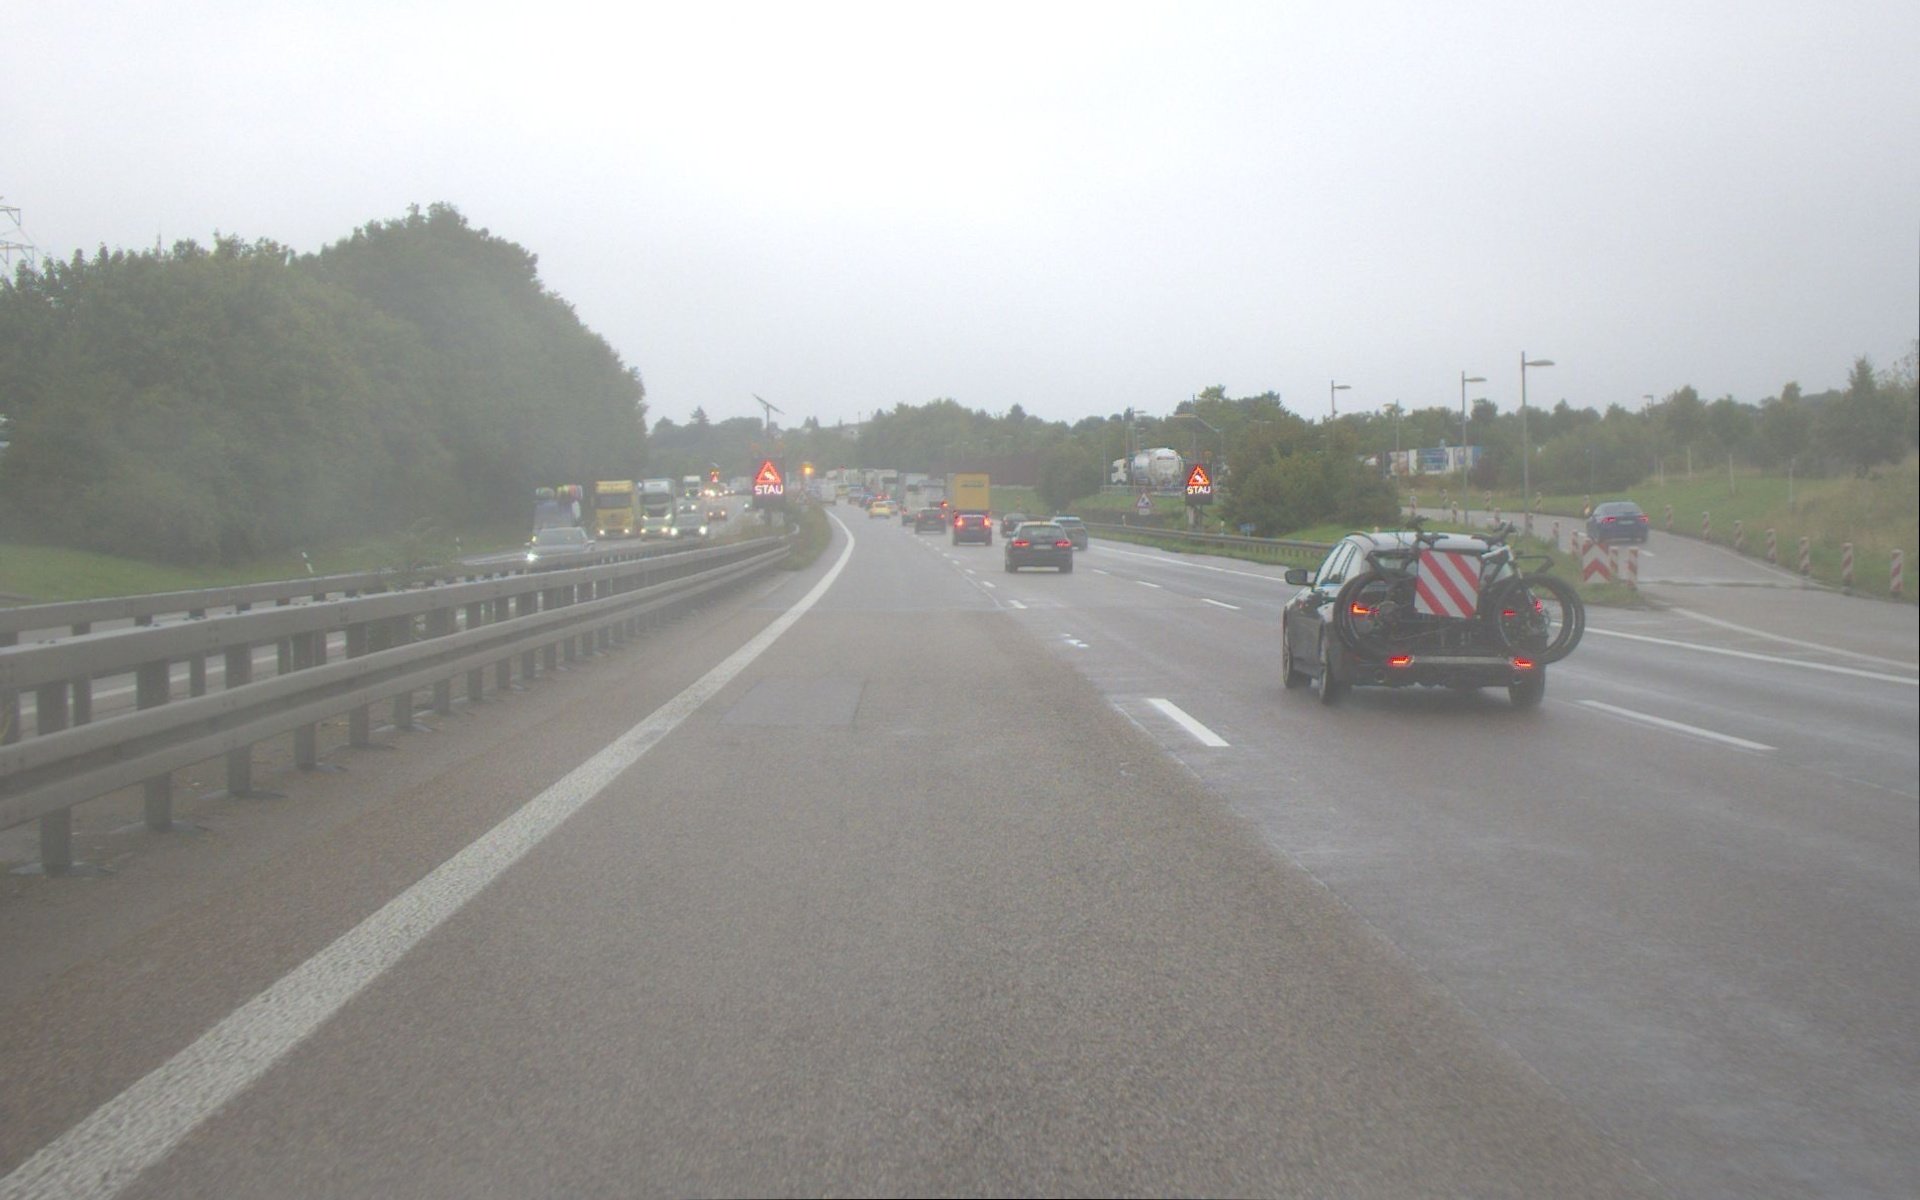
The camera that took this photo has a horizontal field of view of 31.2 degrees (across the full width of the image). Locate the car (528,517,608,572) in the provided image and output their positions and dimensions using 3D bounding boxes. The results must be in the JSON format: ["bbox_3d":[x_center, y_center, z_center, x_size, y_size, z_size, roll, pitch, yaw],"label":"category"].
[{"bbox_3d":[-11.402,-1.638,100.226,1.822,1.507,4.791,-2,2,-1],"label":"car"}]

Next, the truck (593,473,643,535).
[{"bbox_3d":[-23.316,-6.576,234.596,2.762,4.041,6.158,-3,2,-2],"label":"truck"}]

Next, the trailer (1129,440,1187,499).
[{"bbox_3d":[14.500,-9.516,252.477,2.985,4.142,12.958,-1,2,-2],"label":"trailer"}]

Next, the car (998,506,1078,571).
[{"bbox_3d":[2.174,-1.756,96.950,1.993,1.755,4.001,-1,2,-2],"label":"car"}]

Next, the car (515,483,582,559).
[{"bbox_3d":[-18.668,-3.616,156.201,2.254,3.316,6.176,-2,1,-1],"label":"car"}]

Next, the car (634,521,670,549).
[{"bbox_3d":[-18.908,-3.982,211.041,1.874,1.597,4.515,-2,2,-1],"label":"car"}]

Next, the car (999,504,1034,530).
[{"bbox_3d":[3.562,-5.285,218.273,1.993,1.623,4.001,-1,2,-2],"label":"car"}]

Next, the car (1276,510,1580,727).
[{"bbox_3d":[3.871,0.105,29.335,2.058,1.665,5.521,0,1,2],"label":"car"}]

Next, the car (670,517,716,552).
[{"bbox_3d":[-13.310,-3.274,171.579,1.923,1.650,4.791,-2,2,-1],"label":"car"}]

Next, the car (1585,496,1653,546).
[{"bbox_3d":[23.625,-2.849,123.368,1.922,1.703,4.000,-1,2,5],"label":"car"}]

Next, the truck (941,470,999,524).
[{"bbox_3d":[0.703,-7.979,265.466,3.924,3.967,12.241,-1,2,-2],"label":"truck"}]

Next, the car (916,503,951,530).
[{"bbox_3d":[-1.676,-5.251,215.387,1.993,1.623,4.001,-1,2,-2],"label":"car"}]

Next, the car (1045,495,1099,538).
[{"bbox_3d":[4.865,-3.646,149.550,1.993,1.755,4.001,3,2,-2],"label":"car"}]

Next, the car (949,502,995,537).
[{"bbox_3d":[0.551,-3.873,164.747,1.993,1.623,4.001,-1,2,-2],"label":"car"}]
